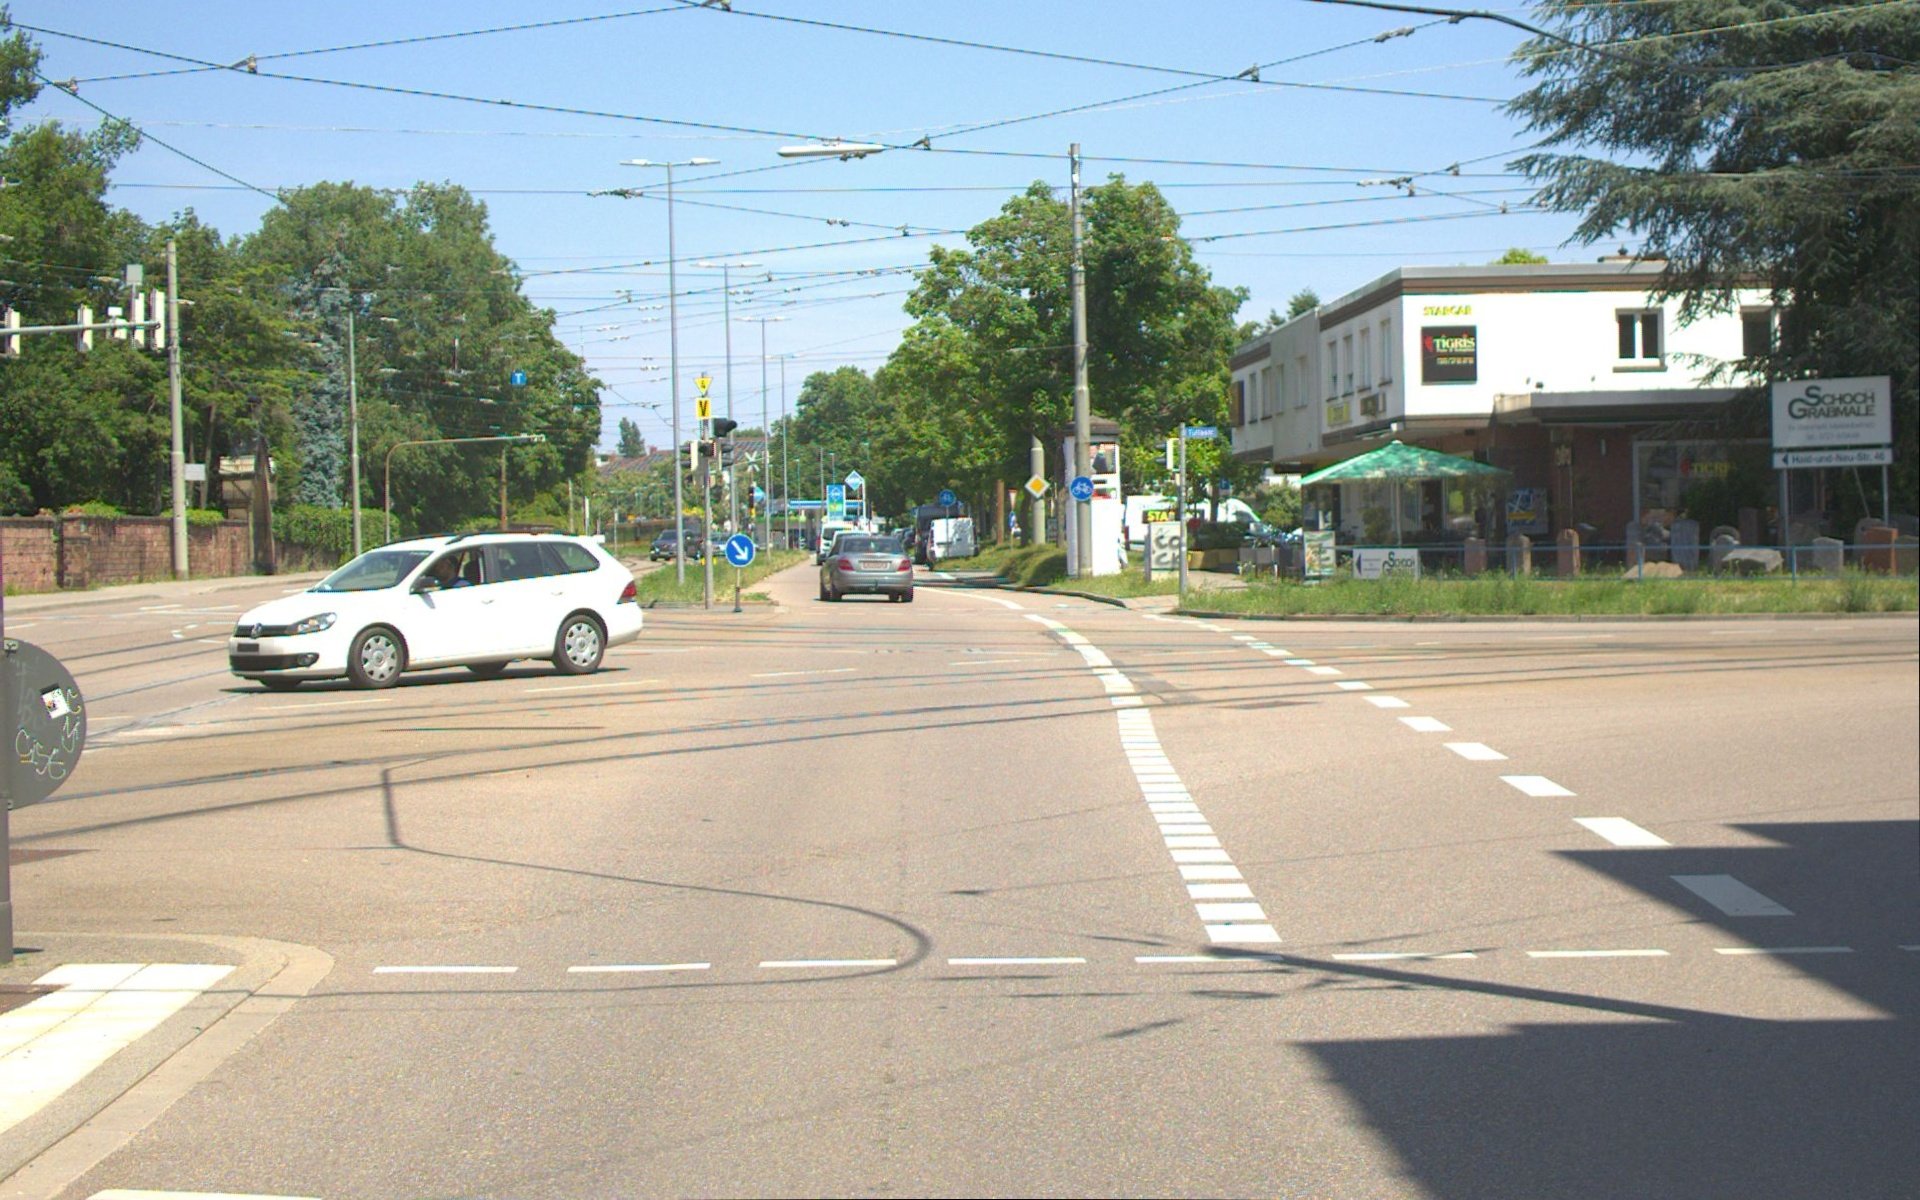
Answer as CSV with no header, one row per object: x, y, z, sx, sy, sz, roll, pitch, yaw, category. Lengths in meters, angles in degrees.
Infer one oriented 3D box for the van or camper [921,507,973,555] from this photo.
-0.498,-2.631,130.372,1.922,1.766,4.000,-1,1,-1,van or camper

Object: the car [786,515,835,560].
-6.274,-2.616,143.974,1.993,1.853,4.001,-1,1,-3,car

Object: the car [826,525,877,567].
-3.710,-1.859,117.980,1.670,1.430,3.475,0,1,0,car

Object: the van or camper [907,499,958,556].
-1.256,-3.211,152.837,1.993,2.456,4.001,-1,1,-4,van or camper

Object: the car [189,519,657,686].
-5.388,-0.018,34.958,1.822,1.484,4.488,0,2,43,car

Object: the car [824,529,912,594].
-2.012,-0.846,74.259,1.636,1.346,3.843,-1,1,-5,car

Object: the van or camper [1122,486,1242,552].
9.248,-3.394,143.389,4.756,2.662,2.136,-1,1,-3,van or camper

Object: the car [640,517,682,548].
-15.939,-3.595,183.307,1.820,1.597,4.520,-1,2,0,car

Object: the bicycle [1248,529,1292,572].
7.636,-1.216,84.488,1.034,1.011,2.636,-1,1,6,bicycle
